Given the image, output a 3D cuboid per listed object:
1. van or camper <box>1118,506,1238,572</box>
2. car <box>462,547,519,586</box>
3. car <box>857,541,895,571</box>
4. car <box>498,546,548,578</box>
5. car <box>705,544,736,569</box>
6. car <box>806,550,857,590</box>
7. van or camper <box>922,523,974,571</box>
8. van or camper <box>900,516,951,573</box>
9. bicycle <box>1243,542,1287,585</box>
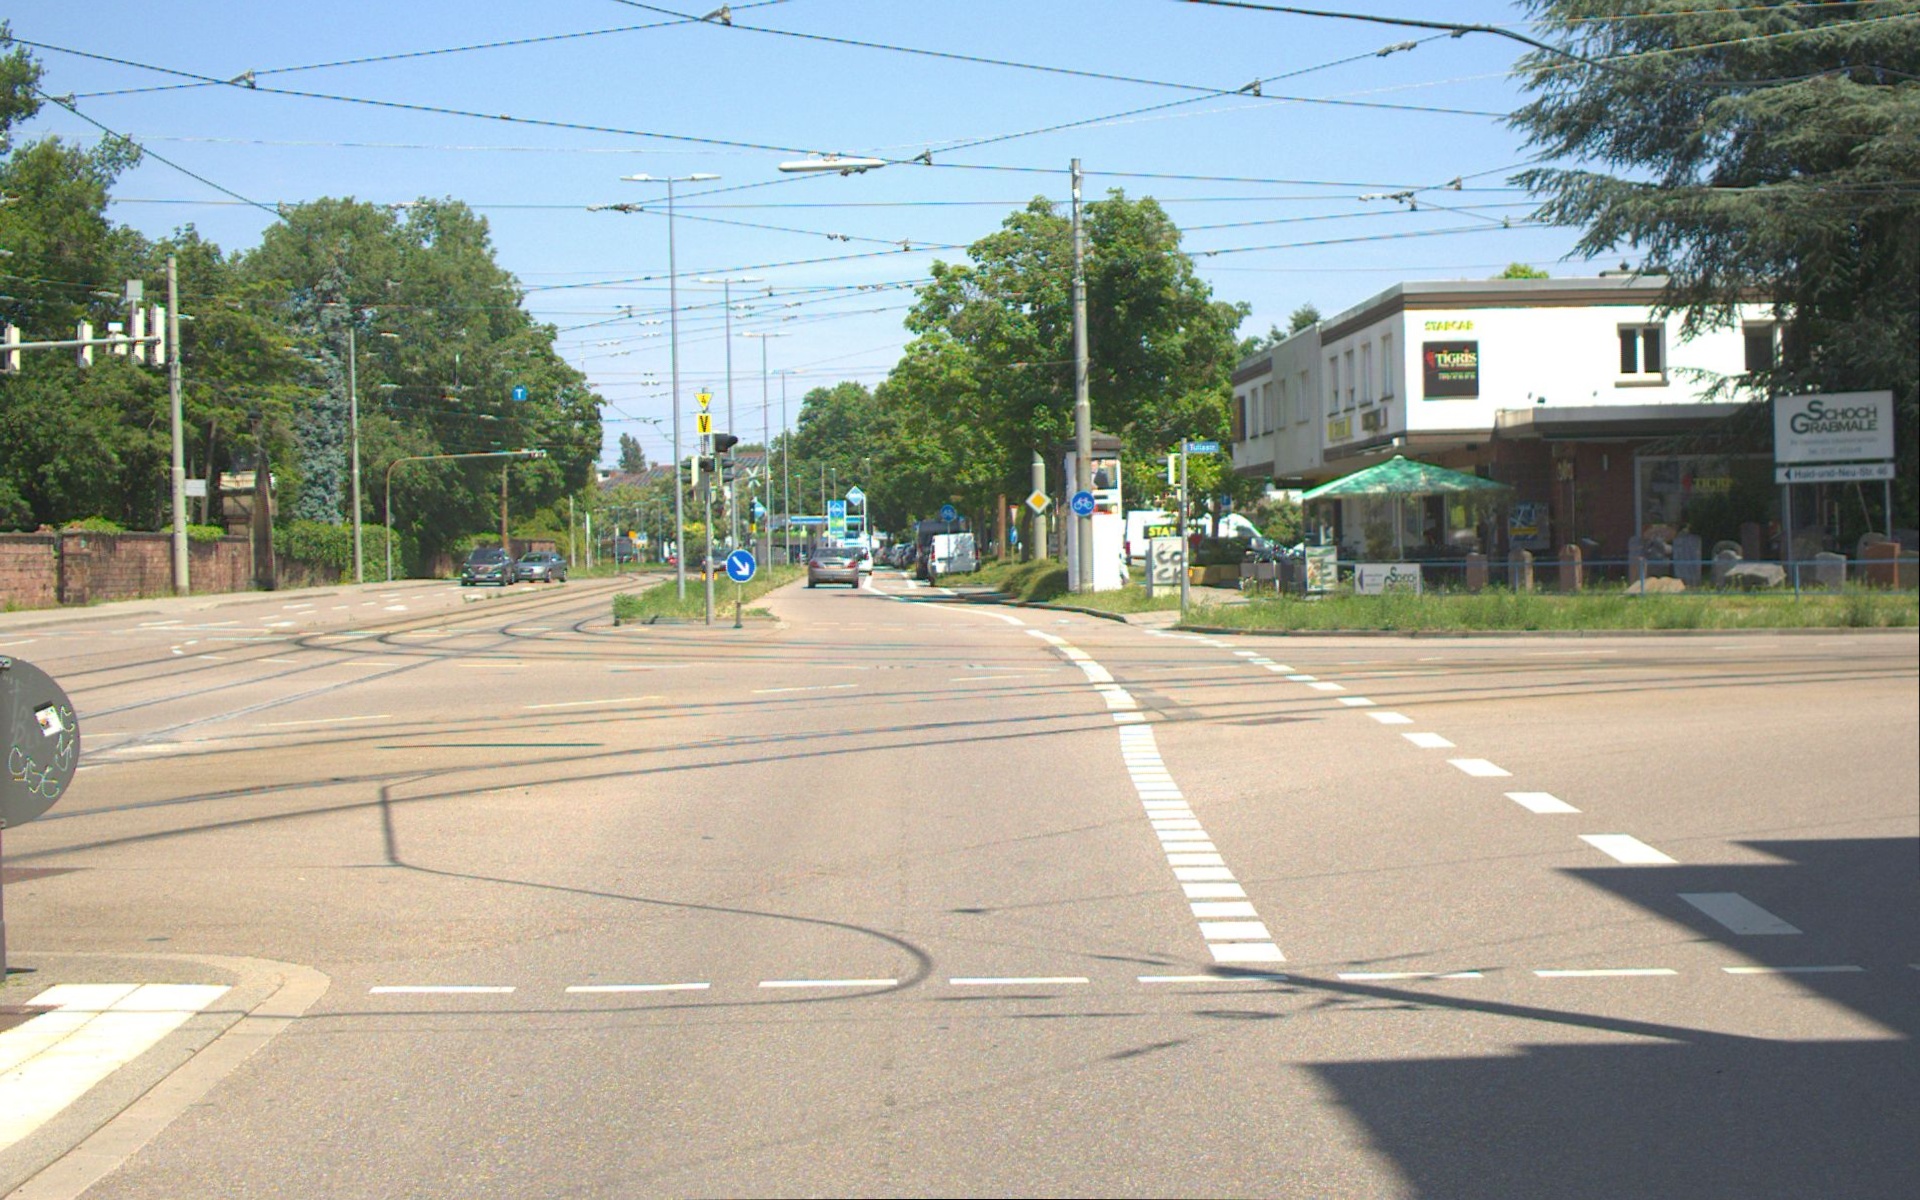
[{"bbox_3d":[9.074,-2.556,143.357,4.756,2.662,2.136,-1,1,-3],"label":"van or camper"},{"bbox_3d":[-20.087,-1.451,147.250,1.820,1.598,4.520,-1,1,0],"label":"car"},{"bbox_3d":[-4.019,-2.116,164.956,1.670,1.430,3.474,-1,1,1],"label":"car"},{"bbox_3d":[-20.059,-1.763,157.932,1.641,1.416,4.168,-1,1,1],"label":"car"},{"bbox_3d":[-13.545,-2.483,194.691,1.641,1.395,4.117,-1,1,-2],"label":"car"},{"bbox_3d":[-4.486,-1.055,119.967,1.636,1.346,3.842,-1,1,-4],"label":"car"},{"bbox_3d":[-0.469,-2.007,130.136,1.922,1.766,4.000,-1,1,-1],"label":"van or camper"},{"bbox_3d":[-1.535,-2.457,152.726,1.993,2.456,4.001,-1,1,-4],"label":"van or camper"},{"bbox_3d":[7.492,-0.905,84.403,1.034,1.011,2.636,-1,1,6],"label":"bicycle"}]
